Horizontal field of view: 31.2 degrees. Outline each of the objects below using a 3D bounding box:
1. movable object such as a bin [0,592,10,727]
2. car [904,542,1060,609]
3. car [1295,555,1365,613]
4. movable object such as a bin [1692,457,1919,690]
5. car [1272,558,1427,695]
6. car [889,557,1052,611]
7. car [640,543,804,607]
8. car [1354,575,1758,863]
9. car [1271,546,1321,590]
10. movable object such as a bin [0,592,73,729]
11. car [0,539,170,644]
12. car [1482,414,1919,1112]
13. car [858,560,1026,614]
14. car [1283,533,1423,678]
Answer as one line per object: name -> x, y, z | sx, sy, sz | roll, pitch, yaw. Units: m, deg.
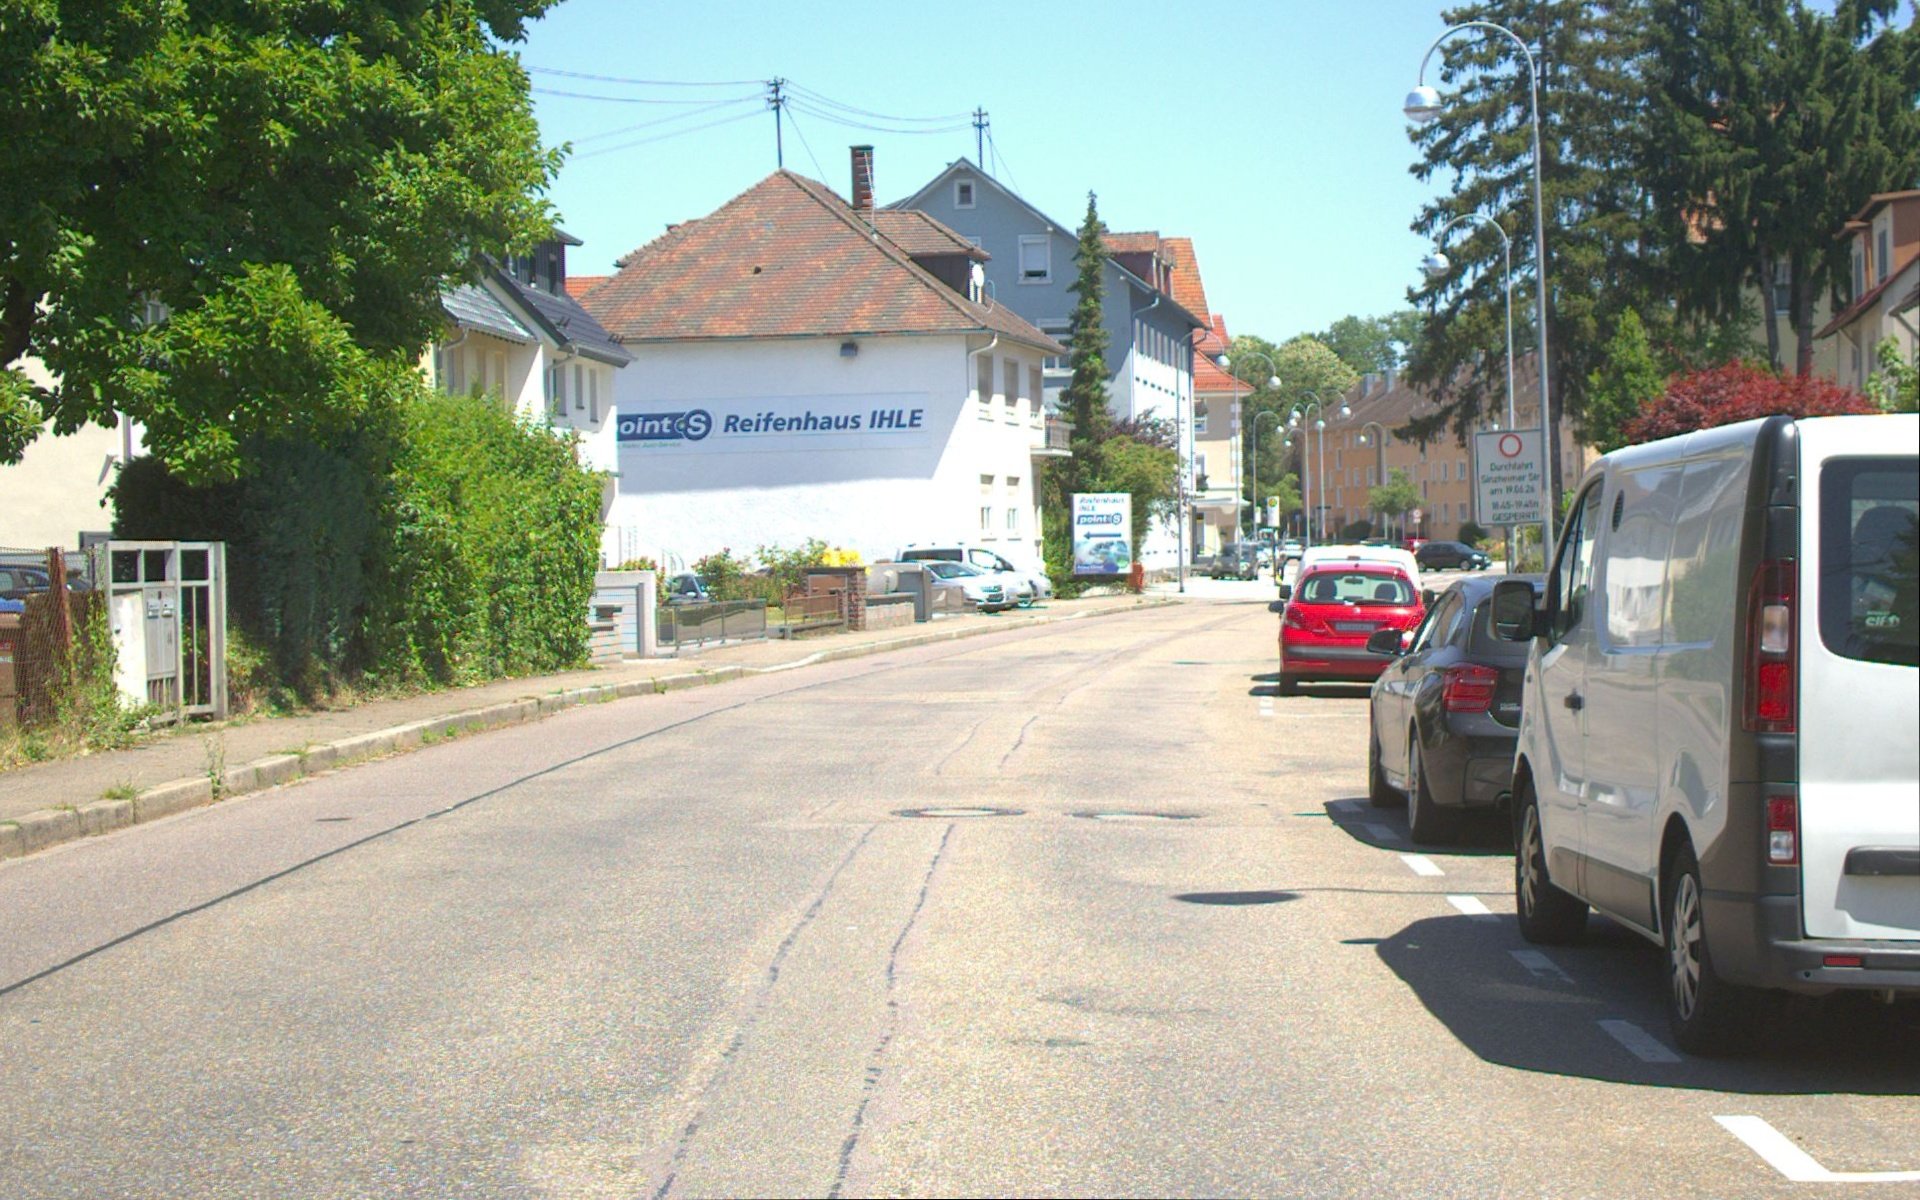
movable object such as a bin -> -7.446, 0.447, 25.826 | 0.467, 1.006, 0.506 | 0, 1, 1
car -> 0.627, -0.680, 94.064 | 4.129, 1.768, 1.828 | -1, 1, 5
car -> 9.931, -0.420, 92.114 | 1.795, 1.505, 3.999 | 1, 0, 7
movable object such as a bin -> 10.524, -0.326, 41.314 | 3.145, 2.737, 1.707 | 0, 1, 4
car -> 4.428, 0.267, 39.398 | 1.664, 1.450, 3.999 | 1, 1, 6
car -> 0.298, -0.432, 91.798 | 4.130, 1.389, 1.828 | 0, 1, 8
car -> -5.824, -0.625, 83.890 | 3.997, 1.505, 1.795 | 1, 2, 45
car -> 3.174, 0.574, 18.997 | 1.656, 1.393, 4.000 | 0, 1, 2
car -> 13.144, -1.256, 134.498 | 1.758, 1.650, 3.999 | 0, 1, 8
movable object such as a bin -> -6.920, 0.440, 25.196 | 0.707, 0.993, 0.474 | 0, 1, -1
car -> -13.964, -0.150, 51.251 | 3.986, 1.505, 1.800 | 1, 1, -3
car -> 3.095, 0.412, 11.788 | 1.903, 1.918, 4.719 | 0, 1, 0
car -> -0.489, -0.338, 88.918 | 4.139, 1.339, 1.906 | 0, 2, 43
car -> 5.081, 0.068, 44.413 | 1.664, 1.749, 3.999 | 2, 0, 7
